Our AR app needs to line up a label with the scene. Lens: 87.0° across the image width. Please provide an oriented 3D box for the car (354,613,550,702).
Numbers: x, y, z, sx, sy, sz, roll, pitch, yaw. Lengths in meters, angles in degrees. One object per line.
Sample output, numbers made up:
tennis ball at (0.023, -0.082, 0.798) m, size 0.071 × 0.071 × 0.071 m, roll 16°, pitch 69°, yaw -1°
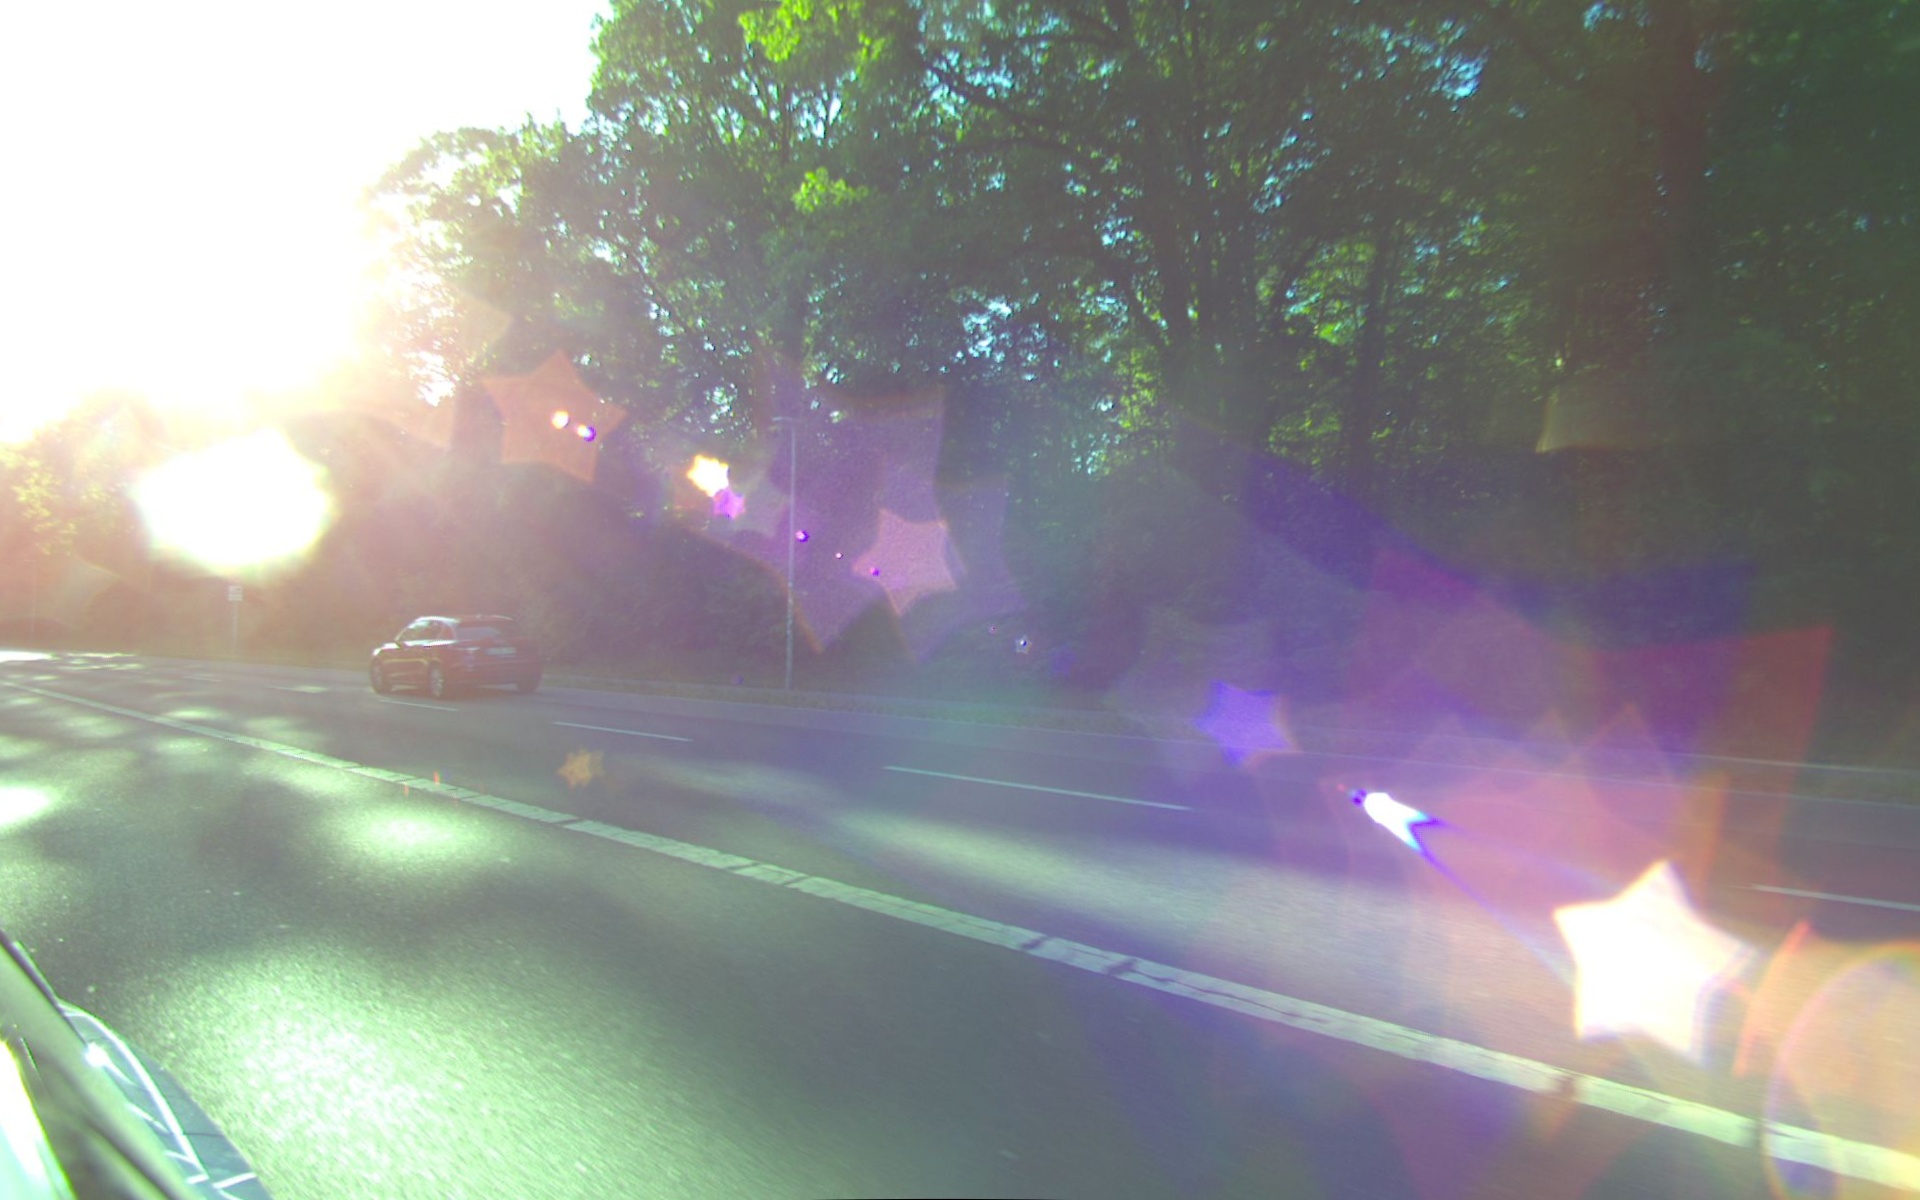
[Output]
car at (-9.277, 0.981, 18.342) m, size 4.126 × 1.434 × 1.693 m, roll -2°, pitch -1°, yaw 40°
